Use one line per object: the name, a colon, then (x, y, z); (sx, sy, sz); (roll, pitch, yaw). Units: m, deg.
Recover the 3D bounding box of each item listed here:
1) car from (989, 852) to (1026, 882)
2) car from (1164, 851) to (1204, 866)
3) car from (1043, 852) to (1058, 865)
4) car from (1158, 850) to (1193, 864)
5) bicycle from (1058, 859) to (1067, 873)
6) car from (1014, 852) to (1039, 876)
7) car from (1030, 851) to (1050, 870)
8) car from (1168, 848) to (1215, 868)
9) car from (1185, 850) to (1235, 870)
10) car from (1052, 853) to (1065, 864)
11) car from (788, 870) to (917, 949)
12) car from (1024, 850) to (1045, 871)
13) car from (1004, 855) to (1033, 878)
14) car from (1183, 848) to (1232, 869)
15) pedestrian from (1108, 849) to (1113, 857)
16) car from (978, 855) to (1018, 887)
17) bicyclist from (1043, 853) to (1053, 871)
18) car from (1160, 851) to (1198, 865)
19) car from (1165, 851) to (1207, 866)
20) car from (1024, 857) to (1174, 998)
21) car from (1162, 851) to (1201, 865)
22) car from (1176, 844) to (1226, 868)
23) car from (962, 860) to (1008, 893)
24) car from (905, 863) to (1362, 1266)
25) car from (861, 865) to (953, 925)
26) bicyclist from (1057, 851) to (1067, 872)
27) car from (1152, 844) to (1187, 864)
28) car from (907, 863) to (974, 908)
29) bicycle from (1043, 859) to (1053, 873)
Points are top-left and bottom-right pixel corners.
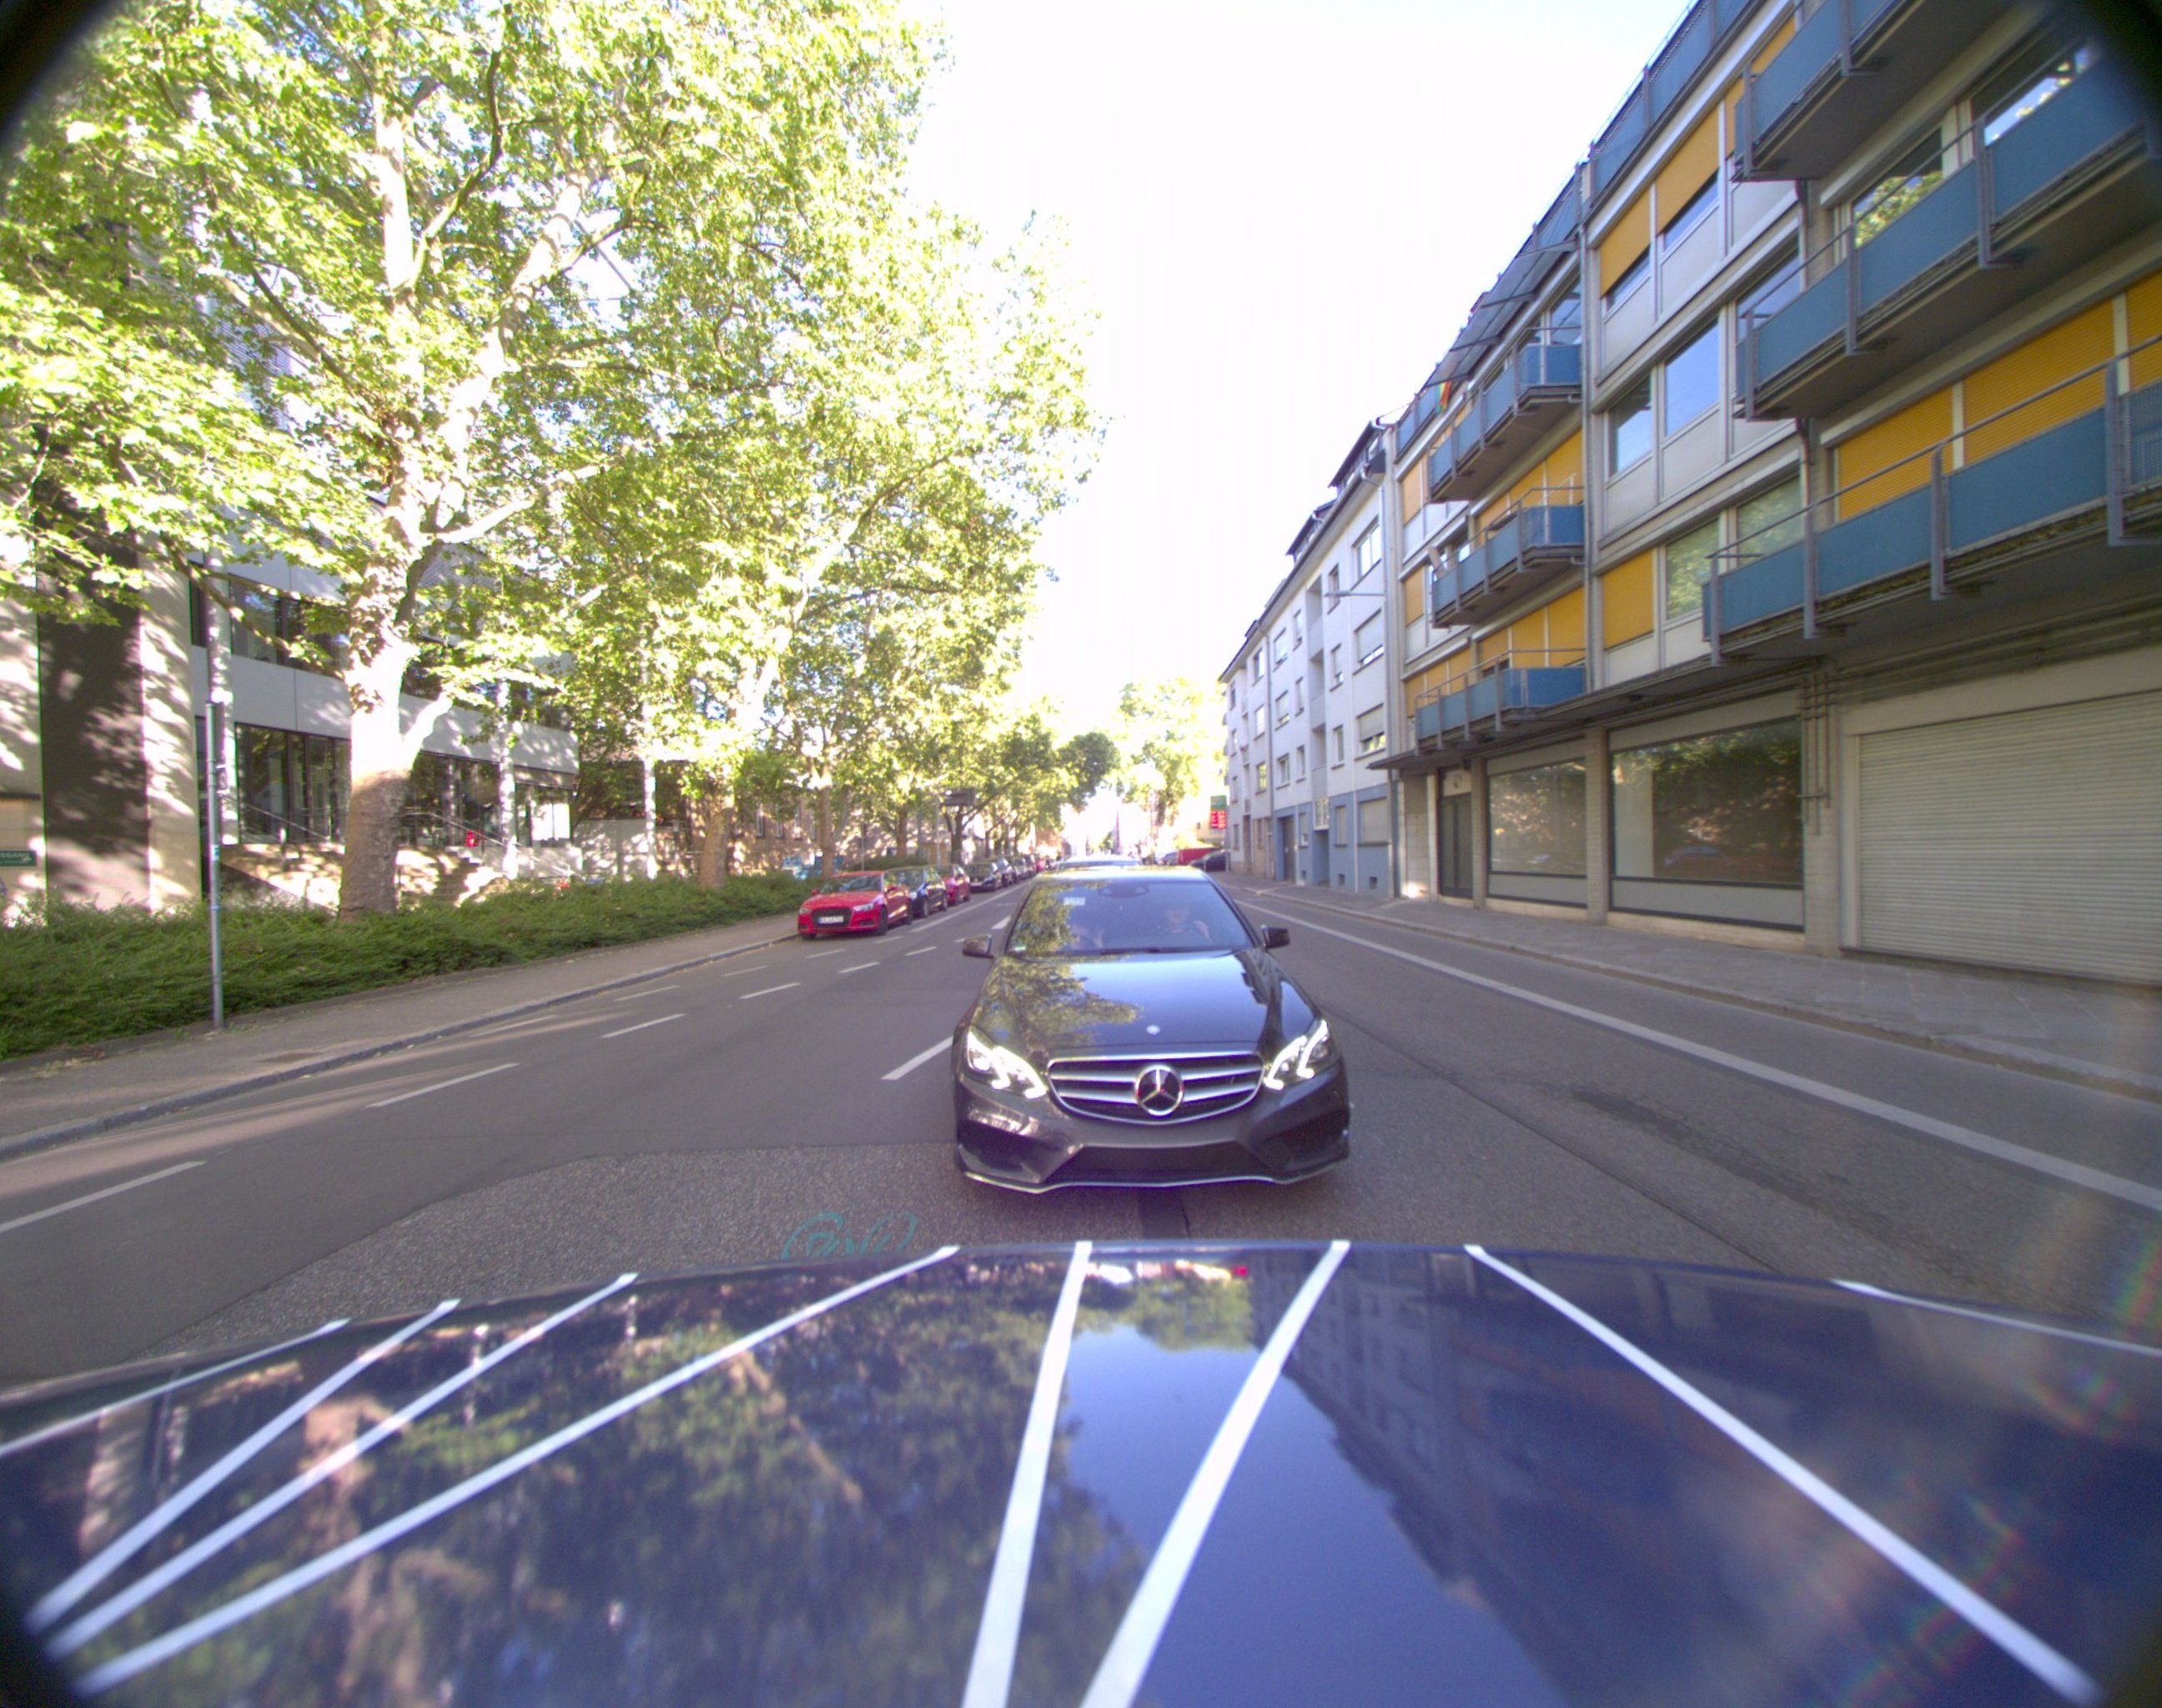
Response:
car: (-4.595, 0.774, 48.177); (1.819, 1.758, 4.431); (-2, 0, 0)
car: (10.403, 0.430, 76.976); (3.905, 1.366, 1.594); (-2, 1, 2)
car: (-3.791, 0.604, 95.674); (1.686, 1.546, 3.836); (-2, 0, 0)
car: (10.540, 0.335, 84.804); (3.782, 1.432, 1.539); (-2, 1, 2)
bicycle: (-1.552, 0.995, 63.309); (0.667, 1.093, 1.814); (-2, 1, 0)
car: (-4.218, 0.757, 59.357); (1.663, 1.704, 3.836); (-2, 0, 0)
car: (-4.099, 0.640, 76.006); (1.686, 1.749, 3.836); (-2, 0, 0)
car: (9.714, 0.332, 66.763); (3.905, 1.577, 1.603); (-2, 1, 2)
car: (9.958, 0.458, 58.718); (3.598, 1.401, 1.534); (-2, 0, 2)
car: (-3.129, 0.657, 106.817); (1.686, 1.475, 3.836); (-2, 0, 0)
car: (-5.132, 1.190, 17.648); (1.724, 1.412, 4.030); (-4, 0, -1)
car: (-4.253, 0.594, 70.215); (1.646, 1.839, 3.836); (-2, 0, 0)
car: (-4.427, 0.878, 54.501); (1.686, 1.552, 3.868); (-2, 0, 0)
car: (10.127, 0.358, 61.123); (3.668, 1.501, 1.602); (-2, 1, 2)
pedestrian: (7.560, -0.237, 196.142); (0.882, 2.108, 0.822); (-1, 1, 32)
car: (-4.538, 0.910, 42.051); (1.686, 1.610, 3.836); (-2, 0, 0)
bicyclist: (-2.782, 0.675, 63.967); (0.756, 1.512, 0.768); (-2, 1, -1)
car: (10.528, 0.403, 82.119); (3.905, 1.325, 1.525); (-2, 1, 2)
car: (10.372, 0.454, 74.954); (3.905, 1.366, 1.594); (-2, 1, 2)
car: (0.206, 0.885, 11.169); (1.732, 1.538, 4.293); (-2, 1, 0)
car: (10.519, 0.429, 79.730); (3.905, 1.325, 1.525); (-2, 1, 2)
car: (10.073, 0.166, 63.968); (3.905, 1.895, 1.749); (-2, 1, 2)
car: (-4.667, 1.049, 37.392); (1.686, 1.443, 4.000); (-2, 0, 0)
car: (0.211, 0.894, 5.271); (1.828, 1.495, 4.293); (-2, 1, 0)
car: (-5.014, 1.129, 22.407); (1.686, 1.458, 4.000); (-3, 0, 0)
bicyclist: (-1.602, 0.625, 63.256); (0.756, 1.714, 0.768); (-2, 1, -1)
car: (10.400, 0.027, 89.297); (3.905, 2.164, 1.725); (-2, 1, 2)
car: (-5.010, 1.095, 27.592); (1.666, 1.426, 3.781); (-2, 0, 0)
bicycle: (-2.778, 1.008, 64.052); (0.667, 1.093, 1.814); (-2, 1, 0)
